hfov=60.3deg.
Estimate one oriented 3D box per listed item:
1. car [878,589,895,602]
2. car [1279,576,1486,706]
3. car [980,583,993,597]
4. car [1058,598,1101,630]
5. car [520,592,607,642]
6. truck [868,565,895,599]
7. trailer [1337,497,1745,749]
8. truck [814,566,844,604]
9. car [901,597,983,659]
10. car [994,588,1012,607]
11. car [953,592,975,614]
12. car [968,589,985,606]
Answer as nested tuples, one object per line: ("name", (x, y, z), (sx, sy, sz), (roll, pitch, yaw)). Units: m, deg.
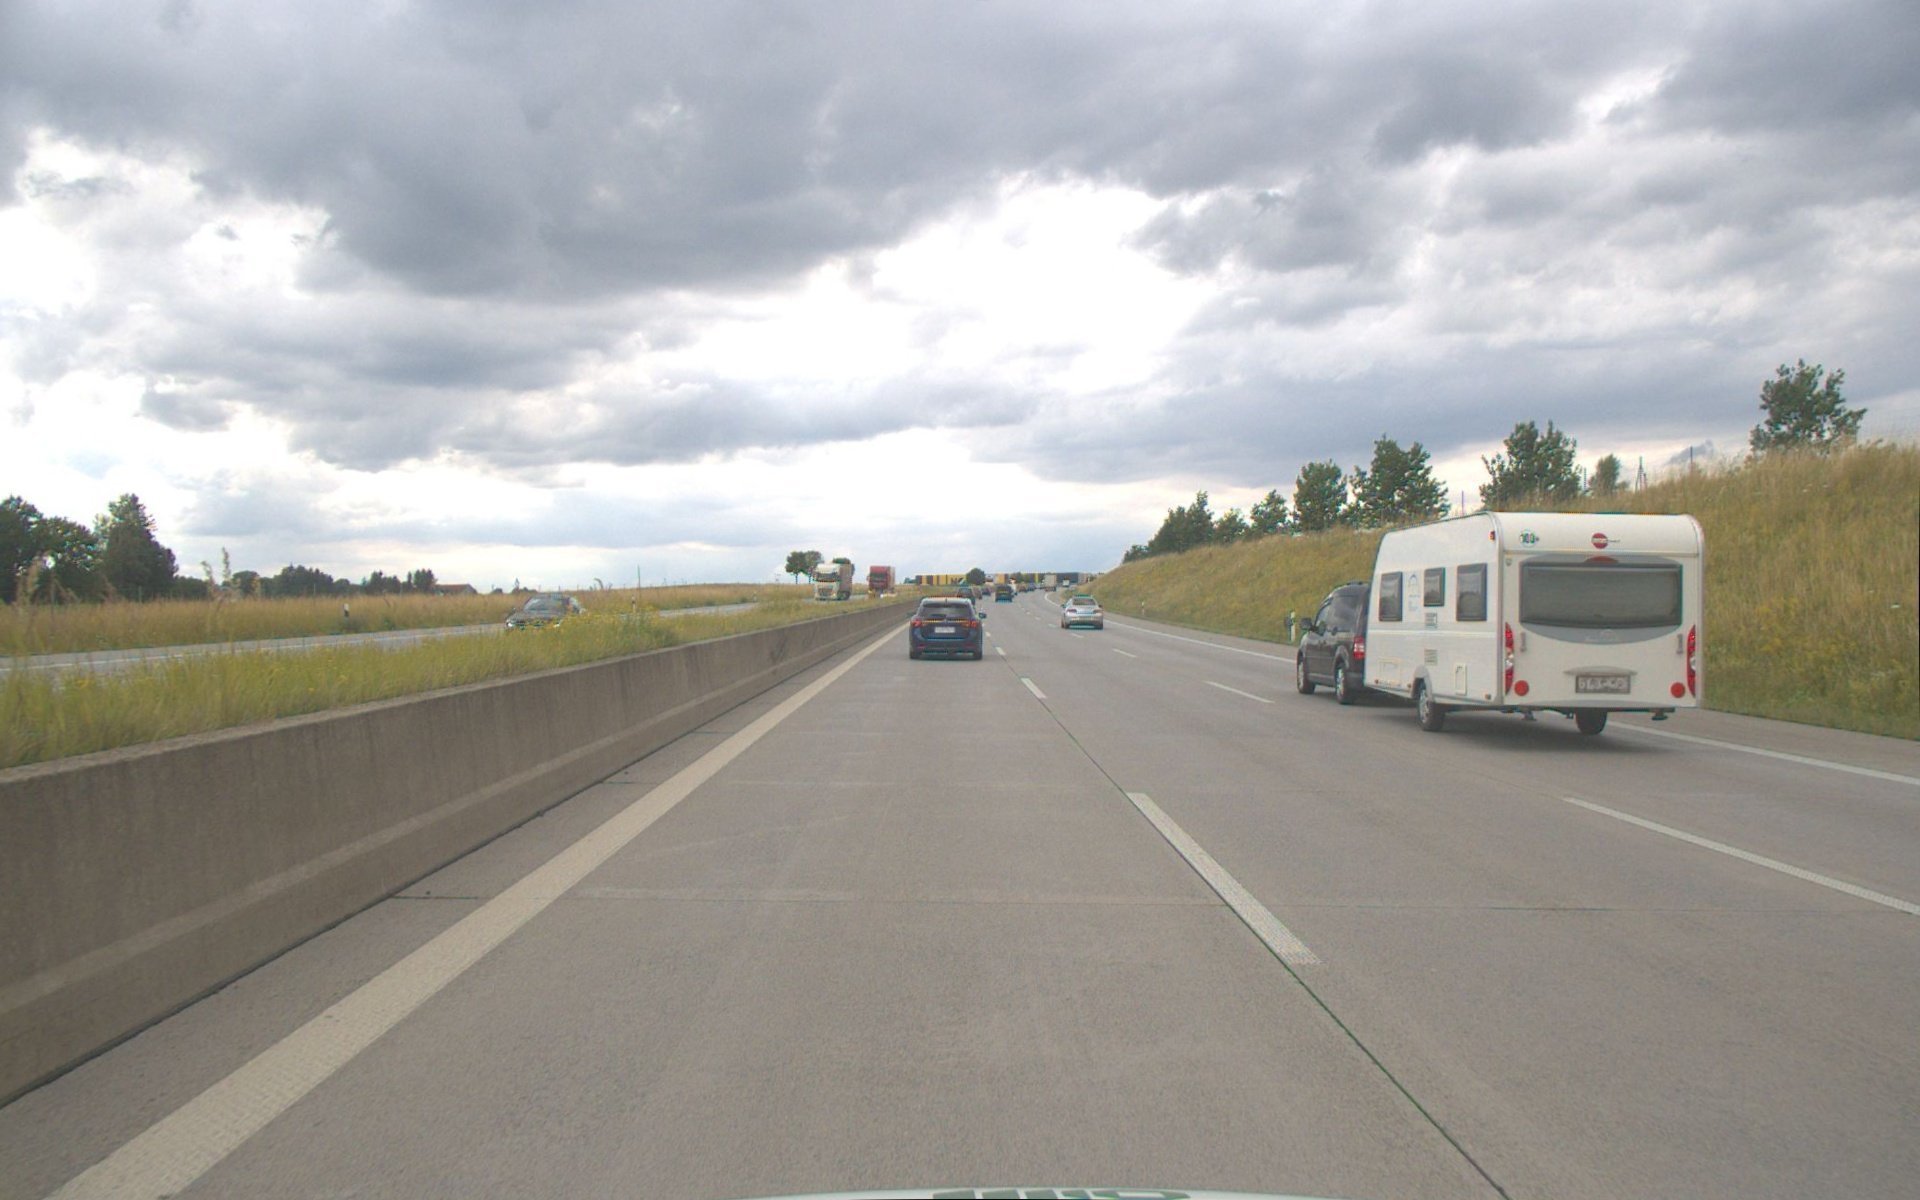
("car", (-7.511, -0.481, 170.067), (1.535, 1.375, 3.473), (0, 0, 1))
("car", (6.520, 0.580, 26.143), (1.899, 1.841, 5.031), (0, 0, -1))
("car", (4.107, -1.512, 256.675), (1.952, 2.049, 4.000), (1, 0, 0))
("car", (5.499, 0.626, 76.395), (1.752, 1.428, 4.222), (0, 0, 1))
("car", (-11.933, 0.499, 49.966), (1.608, 1.397, 4.098), (1, 0, 0))
("truck", (-9.682, -2.222, 205.212), (2.758, 4.108, 10.570), (0, 1, 1))
("trailer", (6.753, 0.227, 20.399), (2.555, 2.578, 6.720), (0, 0, -1))
("truck", (-14.566, -1.689, 183.940), (2.781, 4.108, 5.512), (0, 1, 1))
("car", (-0.394, 0.654, 40.528), (1.737, 1.438, 4.002), (0, 0, 3))
("car", (4.750, -0.294, 184.715), (1.952, 2.049, 4.000), (1, 0, 1))
("car", (0.382, 0.304, 155.822), (2.004, 2.049, 4.000), (1, 0, 0))
("car", (2.052, -0.254, 205.306), (1.952, 2.049, 4.000), (1, 0, 0))
